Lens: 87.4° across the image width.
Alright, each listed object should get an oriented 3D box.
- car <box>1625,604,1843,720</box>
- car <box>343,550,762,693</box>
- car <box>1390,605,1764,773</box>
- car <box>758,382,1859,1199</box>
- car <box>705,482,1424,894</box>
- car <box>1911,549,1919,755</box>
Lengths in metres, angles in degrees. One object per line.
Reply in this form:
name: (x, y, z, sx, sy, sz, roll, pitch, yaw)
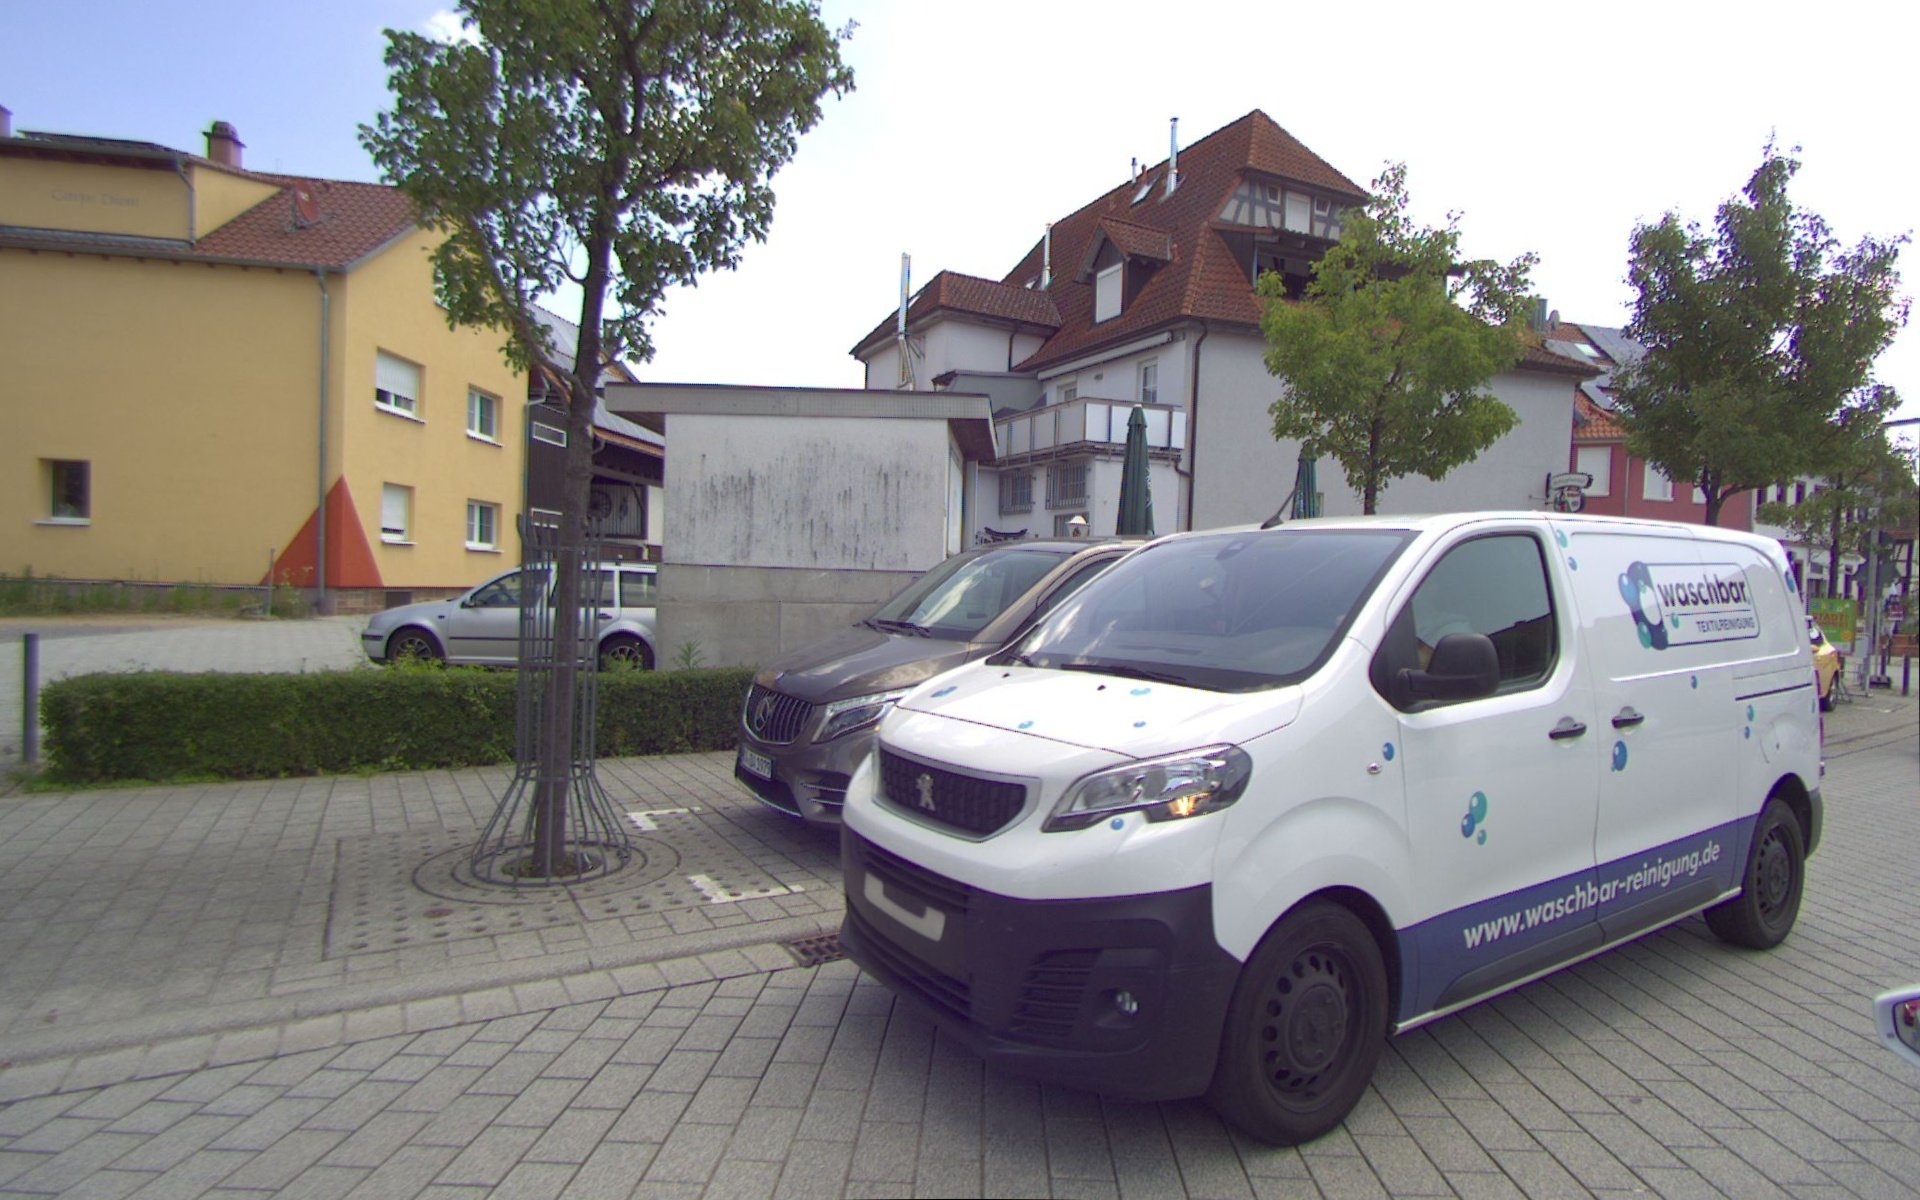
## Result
car: (11.689, 0.845, 15.095, 3.927, 1.494, 1.655, 1, 1, -38)
car: (-4.856, 0.192, 12.459, 4.348, 1.516, 2.000, 2, 3, 1)
car: (6.827, 0.829, 10.955, 4.491, 1.442, 1.804, 1, 1, -35)
car: (1.777, 0.494, 4.369, 4.814, 1.905, 1.982, 1, 1, -33)
car: (0.955, 0.445, 7.149, 4.993, 2.017, 1.973, 1, 1, -35)
car: (12.846, 0.624, 11.680, 4.986, 2.215, 1.873, 1, 0, -38)
